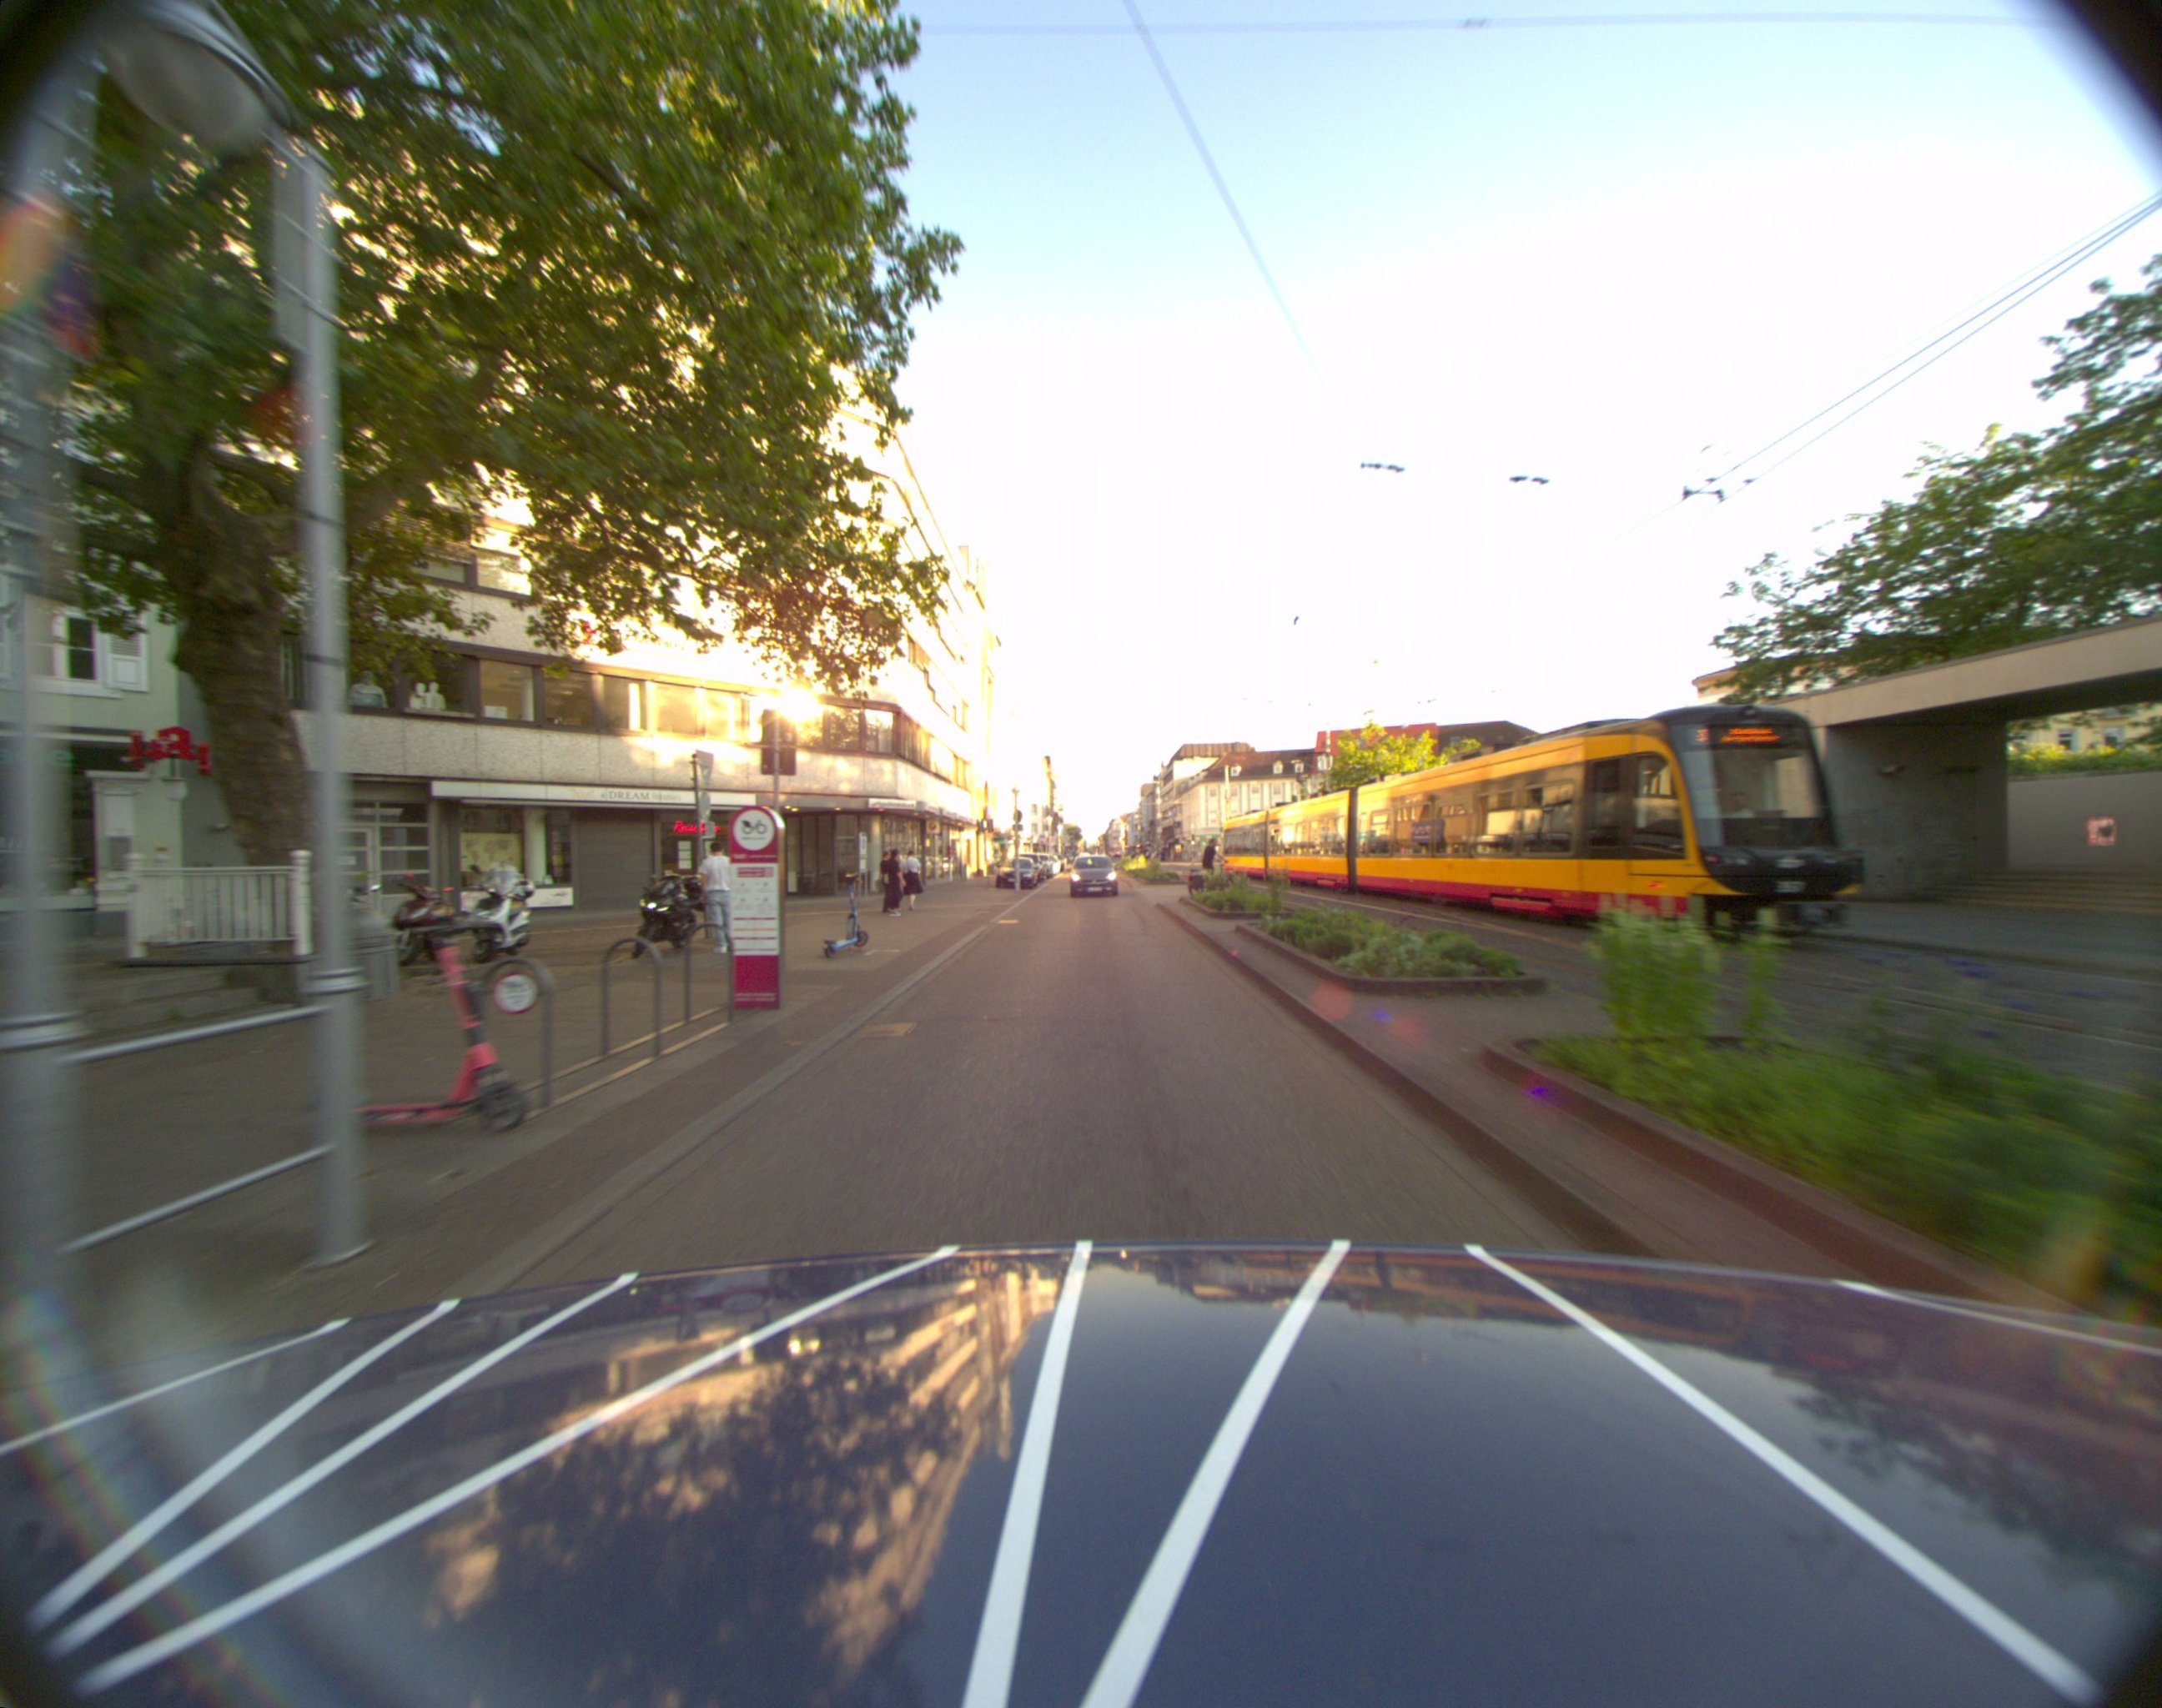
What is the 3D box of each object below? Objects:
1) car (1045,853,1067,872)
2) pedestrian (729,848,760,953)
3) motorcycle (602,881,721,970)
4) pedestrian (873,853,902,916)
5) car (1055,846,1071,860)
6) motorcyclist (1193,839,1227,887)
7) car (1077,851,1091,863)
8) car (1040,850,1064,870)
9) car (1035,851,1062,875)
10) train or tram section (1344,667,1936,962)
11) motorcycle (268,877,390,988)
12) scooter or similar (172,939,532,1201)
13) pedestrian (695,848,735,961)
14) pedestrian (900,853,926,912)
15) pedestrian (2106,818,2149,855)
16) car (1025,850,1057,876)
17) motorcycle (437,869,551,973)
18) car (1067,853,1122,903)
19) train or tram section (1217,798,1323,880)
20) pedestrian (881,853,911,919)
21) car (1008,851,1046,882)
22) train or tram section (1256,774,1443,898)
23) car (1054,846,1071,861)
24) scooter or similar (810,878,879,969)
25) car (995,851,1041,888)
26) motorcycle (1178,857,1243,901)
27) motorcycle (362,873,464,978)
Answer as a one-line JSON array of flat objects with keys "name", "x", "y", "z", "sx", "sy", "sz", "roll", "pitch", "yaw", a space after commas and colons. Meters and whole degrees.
[{"name": "car", "x": -2.198, "y": 0.701, "z": 68.082, "sx": 1.771, "sy": 1.565, "sz": 3.999, "roll": 1, "pitch": 1, "yaw": 1}, {"name": "pedestrian", "x": -5.634, "y": 0.770, "z": 12.744, "sx": 0.432, "sy": 1.726, "sz": 0.409, "roll": 0, "pitch": 1, "yaw": -18}, {"name": "motorcycle", "x": -6.394, "y": 1.043, "z": 11.724, "sx": 0.705, "sy": 1.179, "sz": 1.968, "roll": 0, "pitch": 0, "yaw": 1}, {"name": "pedestrian", "x": -5.123, "y": 0.803, "z": 20.153, "sx": 0.638, "sy": 1.616, "sz": 0.519, "roll": -2, "pitch": 2, "yaw": -10}, {"name": "car", "x": -2.204, "y": -0.131, "z": 92.114, "sx": 1.771, "sy": 1.565, "sz": 3.999, "roll": 1, "pitch": 1, "yaw": 1}, {"name": "motorcyclist", "x": 4.024, "y": 0.274, "z": 23.806, "sx": 0.800, "sy": 1.431, "sz": 0.799, "roll": -3, "pitch": 1, "yaw": -8}, {"name": "car", "x": 0.375, "y": 0.420, "z": 102.879, "sx": 1.810, "sy": 1.475, "sz": 4.283, "roll": -3, "pitch": 0, "yaw": 0}, {"name": "car", "x": -2.373, "y": 0.496, "z": 63.188, "sx": 1.771, "sy": 1.565, "sz": 3.999, "roll": 1, "pitch": 1, "yaw": 1}, {"name": "car", "x": -2.328, "y": 0.623, "z": 55.490, "sx": 1.771, "sy": 1.565, "sz": 3.999, "roll": 1, "pitch": 1, "yaw": 1}, {"name": "train or tram section", "x": 9.446, "y": -0.524, "z": 16.400, "sx": 2.902, "sy": 3.664, "sz": 13.480, "roll": -2, "pitch": 0, "yaw": 0}, {"name": "motorcycle", "x": -10.553, "y": 1.048, "z": 10.749, "sx": 0.707, "sy": 1.397, "sz": 1.964, "roll": 0, "pitch": -2, "yaw": -29}, {"name": "scooter or similar", "x": -3.781, "y": 1.099, "z": 4.017, "sx": 1.345, "sy": 1.225, "sz": 0.535, "roll": 1, "pitch": 2, "yaw": -2}, {"name": "pedestrian", "x": -5.704, "y": 0.773, "z": 11.856, "sx": 0.431, "sy": 1.726, "sz": 0.409, "roll": 0, "pitch": 1, "yaw": -4}, {"name": "pedestrian", "x": -4.744, "y": 0.782, "z": 21.444, "sx": 0.638, "sy": 1.616, "sz": 0.519, "roll": -2, "pitch": 2, "yaw": -10}, {"name": "pedestrian", "x": 35.740, "y": -0.601, "z": 25.962, "sx": 0.586, "sy": 1.250, "sz": 0.626, "roll": 0, "pitch": 1, "yaw": -2}, {"name": "car", "x": -2.540, "y": 0.565, "z": 49.387, "sx": 1.771, "sy": 1.565, "sz": 3.999, "roll": 1, "pitch": 1, "yaw": 1}, {"name": "motorcycle", "x": -8.650, "y": 0.940, "z": 11.293, "sx": 0.707, "sy": 1.397, "sz": 1.966, "roll": 0, "pitch": -2, "yaw": -18}, {"name": "car", "x": 0.475, "y": 0.785, "z": 27.041, "sx": 1.738, "sy": 1.495, "sz": 3.999, "roll": -2, "pitch": 1, "yaw": 1}, {"name": "train or tram section", "x": 9.649, "y": -0.722, "z": 40.294, "sx": 2.902, "sy": 3.664, "sz": 10.784, "roll": -2, "pitch": 0, "yaw": 0}, {"name": "pedestrian", "x": -4.689, "y": 0.798, "z": 19.294, "sx": 0.638, "sy": 1.616, "sz": 0.519, "roll": -2, "pitch": 2, "yaw": -10}, {"name": "car", "x": -2.966, "y": 0.672, "z": 42.181, "sx": 1.771, "sy": 1.565, "sz": 3.999, "roll": 1, "pitch": 1, "yaw": 1}, {"name": "train or tram section", "x": 9.518, "y": -0.571, "z": 29.018, "sx": 2.902, "sy": 3.664, "sz": 11.982, "roll": -2, "pitch": 0, "yaw": 0}, {"name": "car", "x": -2.151, "y": -0.090, "z": 87.432, "sx": 1.771, "sy": 1.565, "sz": 3.999, "roll": 1, "pitch": 1, "yaw": 1}, {"name": "scooter or similar", "x": -3.623, "y": 1.019, "z": 11.749, "sx": 0.534, "sy": 1.225, "sz": 1.656, "roll": 1, "pitch": 1, "yaw": 0}, {"name": "car", "x": -2.896, "y": 0.681, "z": 35.570, "sx": 1.771, "sy": 1.565, "sz": 3.999, "roll": 1, "pitch": 1, "yaw": 1}, {"name": "motorcycle", "x": 4.051, "y": 0.770, "z": 23.812, "sx": 1.779, "sy": 1.230, "sz": 0.805, "roll": -3, "pitch": 1, "yaw": -9}, {"name": "motorcycle", "x": -9.836, "y": 1.008, "z": 11.265, "sx": 0.707, "sy": 1.397, "sz": 1.964, "roll": 0, "pitch": -2, "yaw": -29}]
